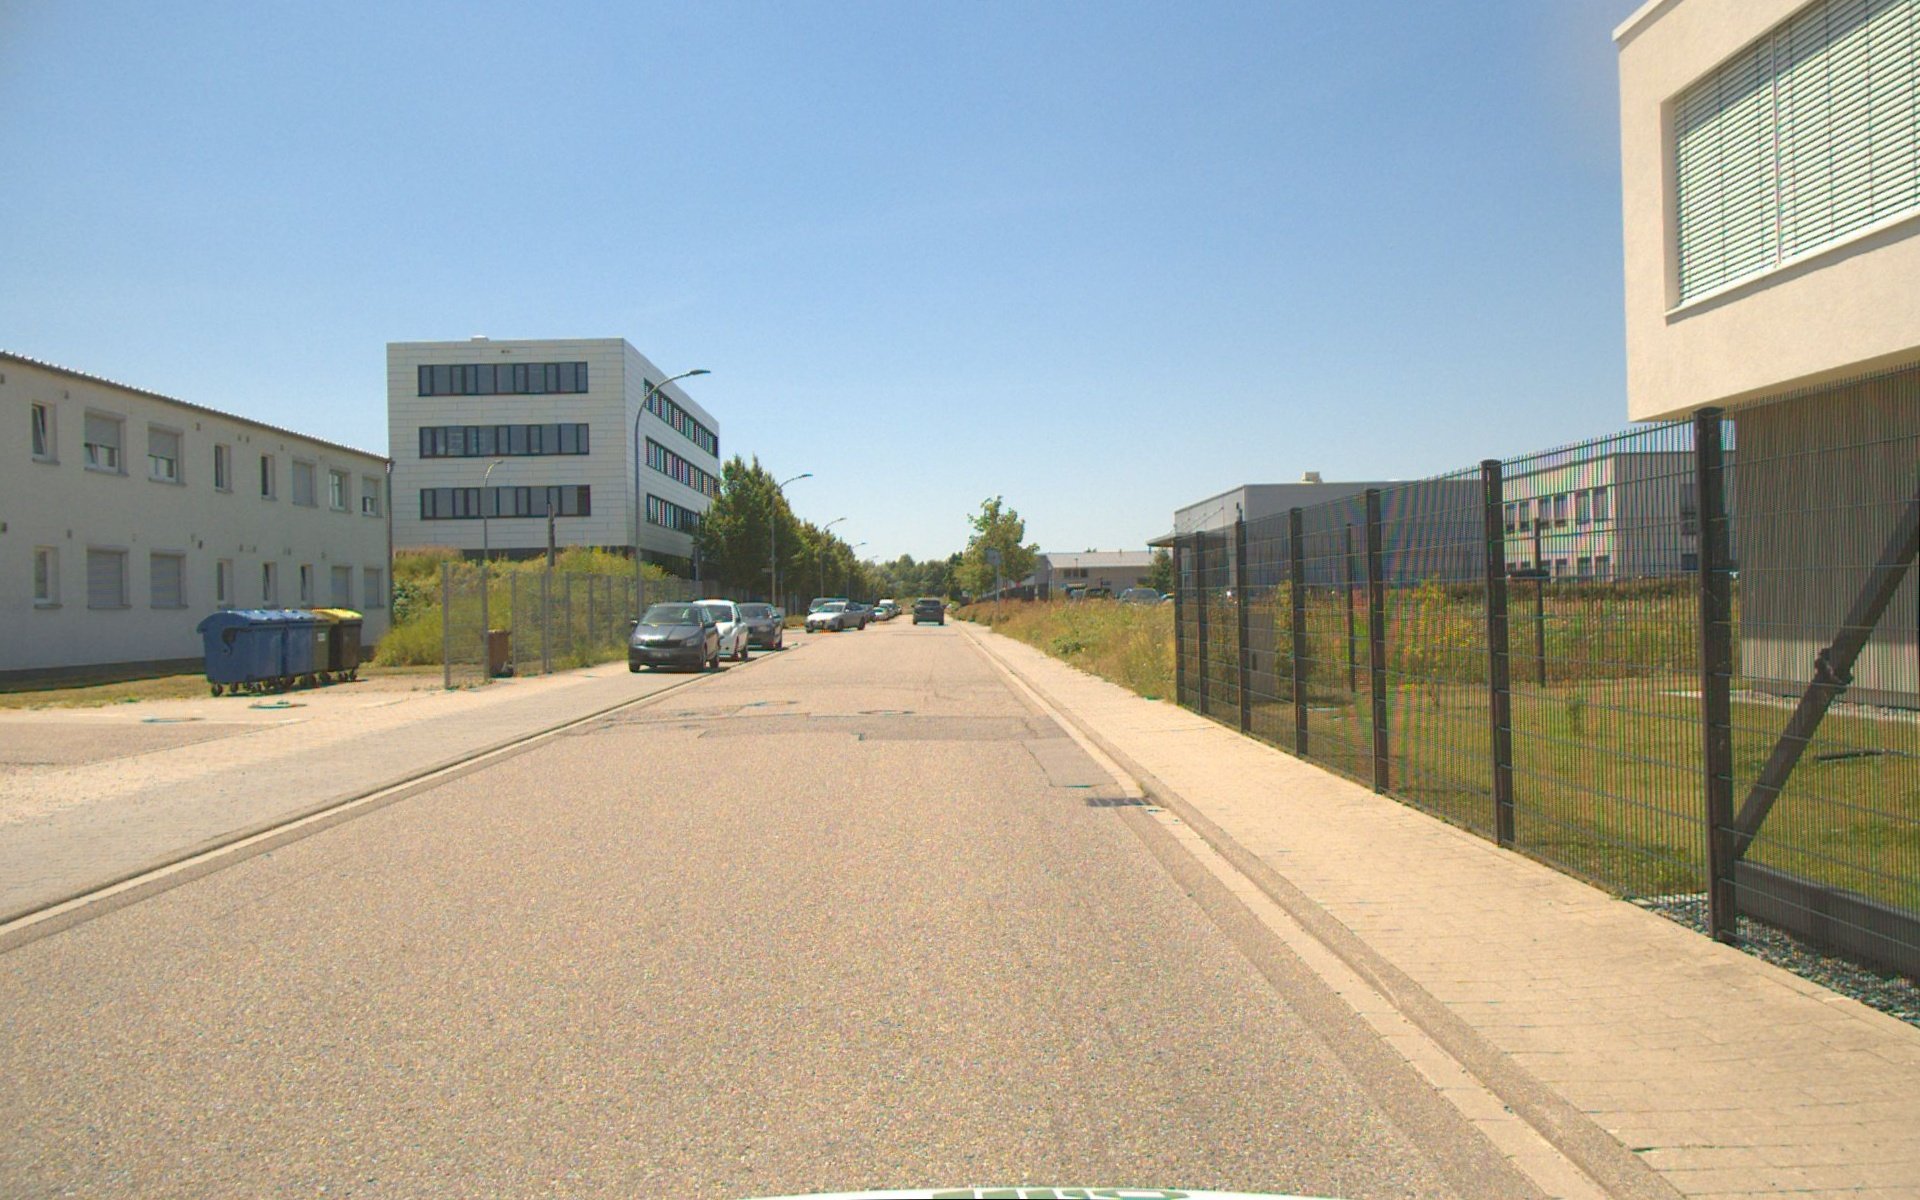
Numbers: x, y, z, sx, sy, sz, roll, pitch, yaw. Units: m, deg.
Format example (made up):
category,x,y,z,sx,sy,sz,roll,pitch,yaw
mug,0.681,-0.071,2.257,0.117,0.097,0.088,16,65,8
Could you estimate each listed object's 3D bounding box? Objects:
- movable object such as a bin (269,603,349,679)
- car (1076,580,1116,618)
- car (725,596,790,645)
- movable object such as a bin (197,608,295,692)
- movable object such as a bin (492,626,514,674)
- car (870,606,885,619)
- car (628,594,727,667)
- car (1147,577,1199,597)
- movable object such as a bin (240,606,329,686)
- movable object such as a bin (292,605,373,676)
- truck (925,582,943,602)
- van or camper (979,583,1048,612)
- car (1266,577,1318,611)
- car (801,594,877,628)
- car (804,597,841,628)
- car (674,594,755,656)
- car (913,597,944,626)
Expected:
category,x,y,z,sx,sy,sz,roll,pitch,yaw
movable object such as a bin,-12.934,0.802,32.902,1.065,1.473,1.388,-1,-1,-2
car,5.994,-0.053,73.058,1.437,1.601,2.661,-2,-1,-1
car,-6.369,0.655,52.393,1.640,1.476,4.067,0,-1,-1
movable object such as a bin,-12.886,0.891,29.900,1.119,1.473,1.434,-1,-1,1
movable object such as a bin,-9.260,1.015,33.509,0.298,0.956,0.496,-1,-1,1
car,-9.445,1.419,190.033,1.686,1.502,3.854,-1,0,-4
car,-6.290,0.667,37.137,1.640,1.557,3.908,0,-1,-1
car,16.359,-1.000,127.112,3.793,1.427,1.767,-2,-1,1
movable object such as a bin,-12.848,0.865,31.487,1.101,1.473,1.371,-1,-1,1
movable object such as a bin,-13.004,0.826,34.326,1.119,1.430,1.388,-1,-1,1
truck,-4.111,-1.241,262.743,2.873,3.026,6.417,1,-1,-1
van or camper,5.234,-0.255,163.189,6.621,2.630,2.634,-2,-1,-2
car,14.813,-0.269,73.942,1.484,1.421,3.539,-2,0,-2
car,-5.996,0.530,82.327,1.738,1.615,4.067,-1,-1,31
car,-7.641,0.706,92.325,1.735,1.615,4.479,-1,0,-1
car,-6.410,0.645,43.539,1.640,1.557,3.756,0,-1,-1
car,-1.841,0.658,97.202,1.753,1.652,3.808,1,-1,-1
